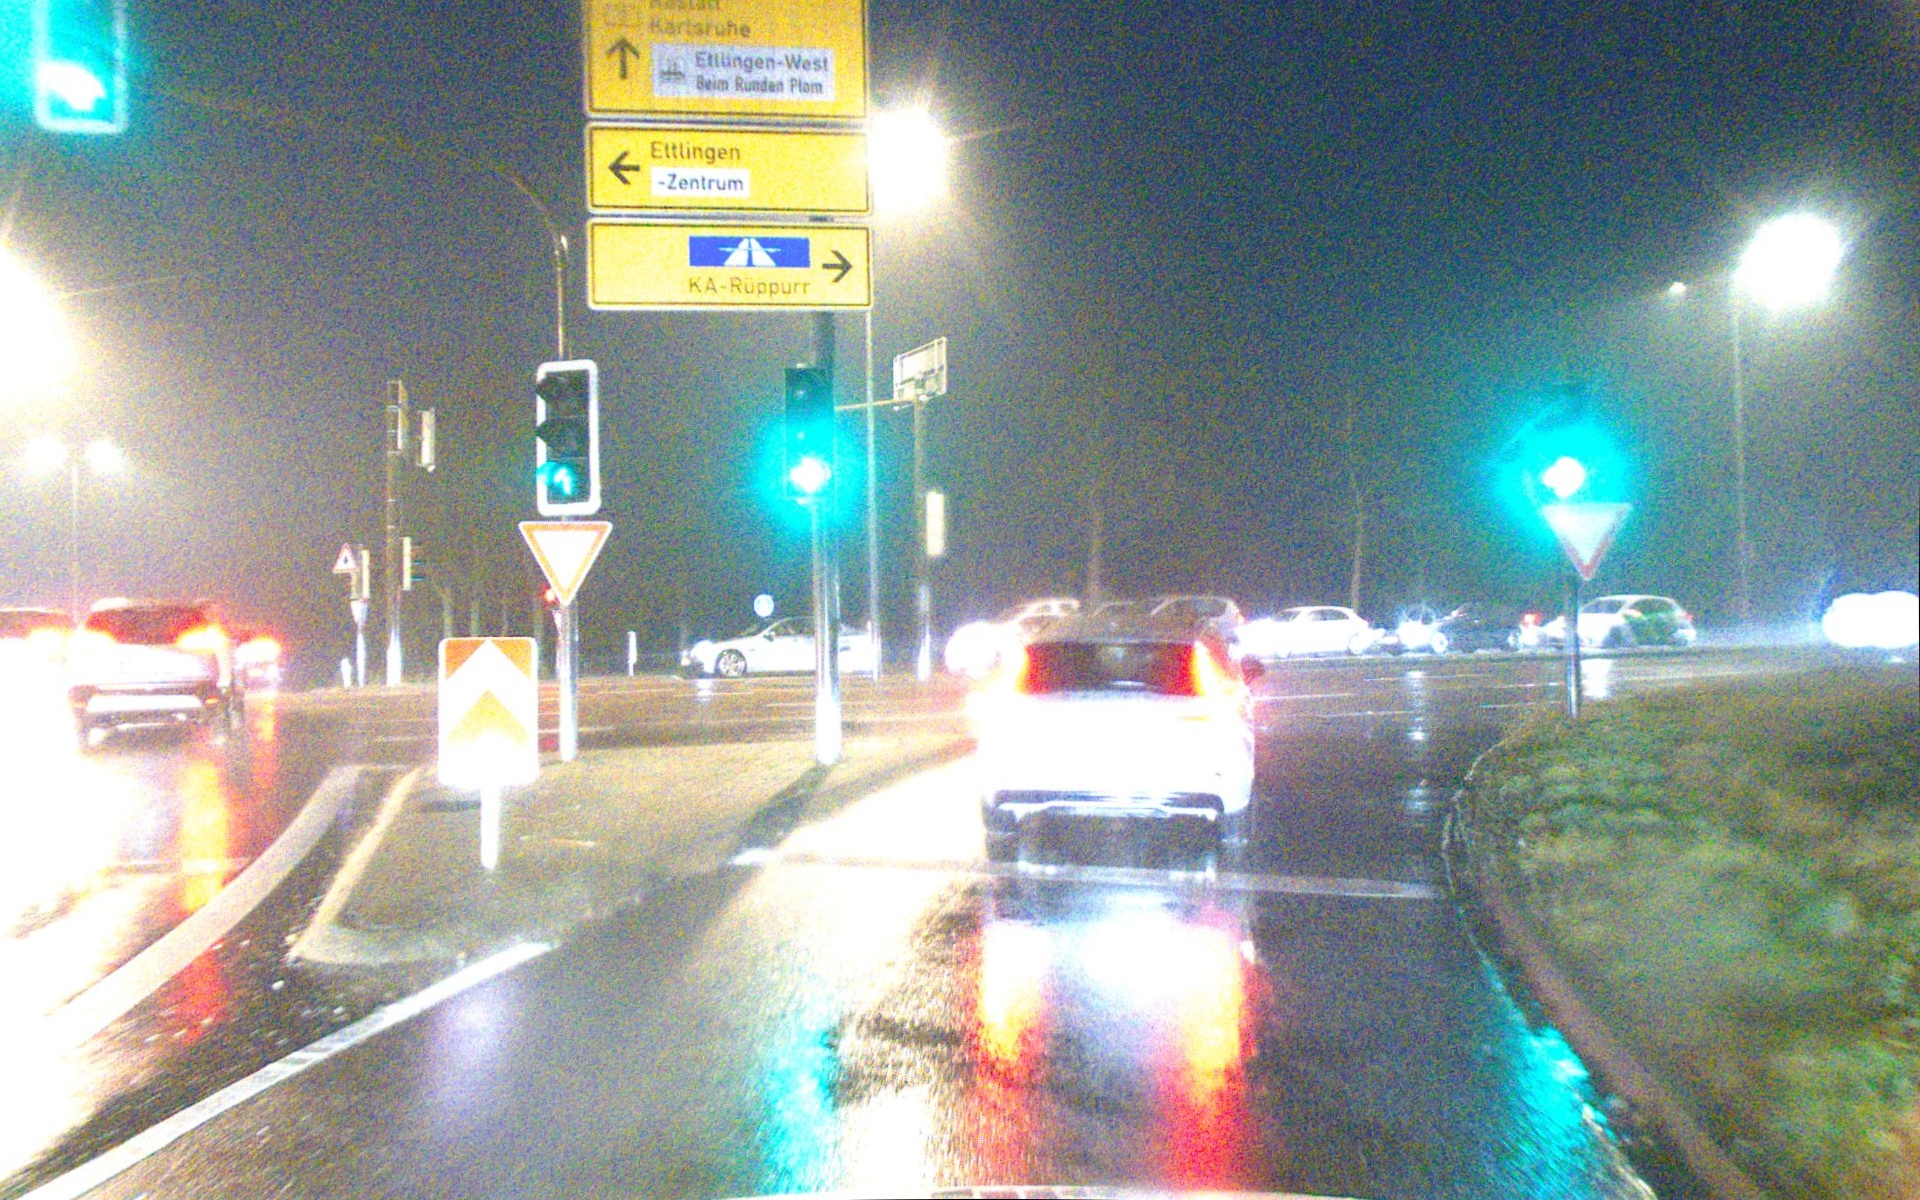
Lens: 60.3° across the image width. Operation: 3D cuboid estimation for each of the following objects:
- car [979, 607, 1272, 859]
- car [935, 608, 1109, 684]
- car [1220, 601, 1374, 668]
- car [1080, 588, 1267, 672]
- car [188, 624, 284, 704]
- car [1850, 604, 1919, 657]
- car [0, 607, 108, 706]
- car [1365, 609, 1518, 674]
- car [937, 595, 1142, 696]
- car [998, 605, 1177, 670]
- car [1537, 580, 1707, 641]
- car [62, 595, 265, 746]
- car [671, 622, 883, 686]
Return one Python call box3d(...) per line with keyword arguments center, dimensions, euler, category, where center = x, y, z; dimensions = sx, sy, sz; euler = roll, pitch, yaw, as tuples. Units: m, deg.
box3d(center=(1.329, 0.799, 12.085), dimensions=(1.758, 1.477, 4.272), euler=(0, 0, 9), category="car")
box3d(center=(1.606, 1.186, 42.694), dimensions=(4.222, 1.881, 1.749), euler=(1, -2, -29), category="car")
box3d(center=(9.614, 1.001, 47.143), dimensions=(4.188, 1.831, 1.787), euler=(1, -2, -29), category="car")
box3d(center=(4.788, 0.640, 37.025), dimensions=(3.841, 1.755, 1.750), euler=(-1, 0, -27), category="car")
box3d(center=(-17.069, 1.474, 38.896), dimensions=(1.806, 1.682, 4.441), euler=(2, -1, -27), category="car")
box3d(center=(34.887, 1.133, 60.954), dimensions=(3.941, 1.881, 1.812), euler=(2, -2, -28), category="car")
box3d(center=(-16.729, 1.005, 30.075), dimensions=(1.883, 1.687, 3.958), euler=(0, -1, -23), category="car")
box3d(center=(13.159, 1.134, 45.146), dimensions=(3.919, 1.695, 1.787), euler=(1, -2, -29), category="car")
box3d(center=(2.292, 1.310, 47.265), dimensions=(5.525, 2.758, 2.236), euler=(1, -2, -28), category="car")
box3d(center=(3.077, 0.917, 39.756), dimensions=(3.992, 1.513, 1.705), euler=(1, -2, -25), category="car")
box3d(center=(17.352, 0.242, 43.335), dimensions=(4.345, 1.510, 1.767), euler=(-1, 1, -27), category="car")
box3d(center=(-9.460, 0.806, 19.936), dimensions=(1.824, 1.619, 3.998), euler=(1, -2, -21), category="car")
box3d(center=(-4.342, 1.296, 39.474), dimensions=(4.731, 1.452, 1.749), euler=(1, -2, -28), category="car")
